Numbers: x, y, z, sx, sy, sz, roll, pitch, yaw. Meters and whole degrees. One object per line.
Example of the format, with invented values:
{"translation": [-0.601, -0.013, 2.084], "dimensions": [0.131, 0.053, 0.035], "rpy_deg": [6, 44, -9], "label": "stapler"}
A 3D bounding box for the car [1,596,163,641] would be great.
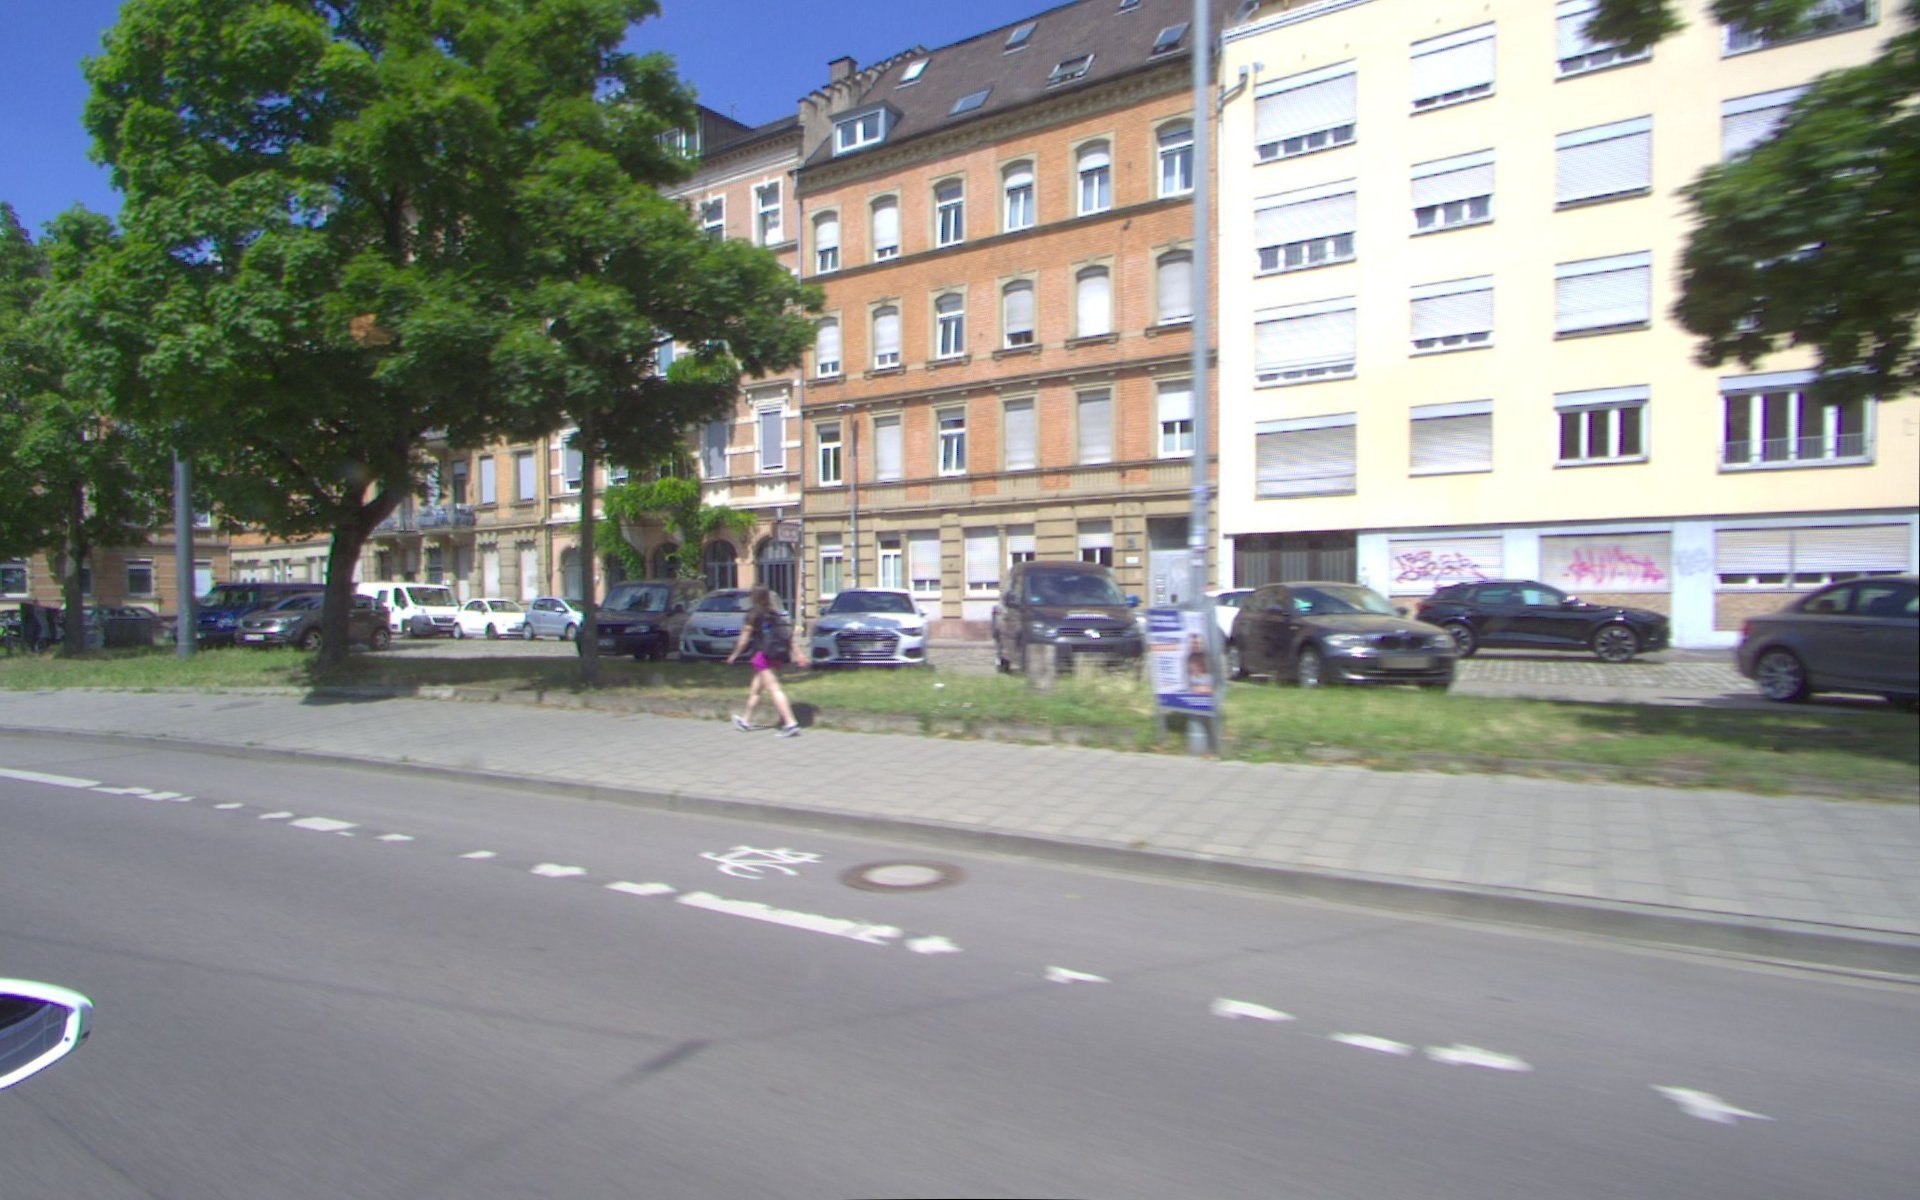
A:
{"translation": [-30.533, 0.609, 35.003], "dimensions": [1.770, 1.446, 4.258], "rpy_deg": [0, 1, 3], "label": "car"}

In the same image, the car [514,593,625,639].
{"translation": [-13.441, 0.542, 34.429], "dimensions": [3.798, 1.511, 1.655], "rpy_deg": [-1, 0, 33], "label": "car"}

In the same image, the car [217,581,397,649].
{"translation": [-17.484, 0.398, 27.073], "dimensions": [1.879, 1.678, 4.174], "rpy_deg": [0, -1, 5], "label": "car"}

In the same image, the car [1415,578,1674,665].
{"translation": [11.207, 0.410, 19.411], "dimensions": [4.167, 1.511, 1.828], "rpy_deg": [-1, -1, 33], "label": "car"}

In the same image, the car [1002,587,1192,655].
{"translation": [3.275, 0.493, 24.128], "dimensions": [4.167, 1.511, 1.828], "rpy_deg": [-1, -1, 33], "label": "car"}

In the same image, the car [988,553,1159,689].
{"translation": [1.549, 0.299, 15.270], "dimensions": [1.816, 1.764, 4.366], "rpy_deg": [0, -1, -4], "label": "car"}

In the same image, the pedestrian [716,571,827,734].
{"translation": [-1.972, 0.525, 10.480], "dimensions": [0.892, 1.613, 0.699], "rpy_deg": [0, 1, 31], "label": "pedestrian"}

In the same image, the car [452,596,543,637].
{"translation": [-16.923, 0.593, 36.646], "dimensions": [3.305, 1.422, 1.559], "rpy_deg": [0, 1, 35], "label": "car"}

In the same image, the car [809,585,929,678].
{"translation": [-1.459, 0.502, 17.502], "dimensions": [1.816, 1.398, 4.694], "rpy_deg": [0, -1, -2], "label": "car"}

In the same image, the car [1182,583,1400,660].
{"translation": [7.130, 0.458, 21.678], "dimensions": [4.167, 1.511, 1.828], "rpy_deg": [-1, -1, 33], "label": "car"}

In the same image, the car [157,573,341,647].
{"translation": [-20.045, 0.292, 28.533], "dimensions": [1.879, 1.952, 4.630], "rpy_deg": [0, -1, 1], "label": "car"}

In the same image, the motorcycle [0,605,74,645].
{"translation": [-28.487, 0.745, 30.766], "dimensions": [0.630, 1.182, 1.780], "rpy_deg": [0, 1, 30], "label": "motorcycle"}

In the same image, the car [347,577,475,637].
{"translation": [-21.495, 0.311, 39.156], "dimensions": [5.317, 2.207, 2.106], "rpy_deg": [-1, 0, 33], "label": "car"}

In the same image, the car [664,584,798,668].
{"translation": [-4.231, 0.469, 19.120], "dimensions": [1.816, 1.424, 4.085], "rpy_deg": [0, -1, -3], "label": "car"}

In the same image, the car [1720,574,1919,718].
{"translation": [10.239, 0.448, 10.044], "dimensions": [1.816, 1.398, 4.269], "rpy_deg": [0, -1, -4], "label": "car"}

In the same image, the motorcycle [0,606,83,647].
{"translation": [-27.877, 0.775, 30.379], "dimensions": [0.630, 1.182, 1.780], "rpy_deg": [0, 1, 30], "label": "motorcycle"}

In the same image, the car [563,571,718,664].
{"translation": [-6.543, 0.360, 20.987], "dimensions": [1.816, 1.764, 4.150], "rpy_deg": [0, -1, 1], "label": "car"}

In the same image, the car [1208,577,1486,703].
{"translation": [4.870, 0.470, 13.355], "dimensions": [1.816, 1.398, 4.269], "rpy_deg": [0, -1, -4], "label": "car"}

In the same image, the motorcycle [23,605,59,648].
{"translation": [-25.969, 0.729, 28.299], "dimensions": [1.886, 1.182, 0.634], "rpy_deg": [0, 1, 44], "label": "motorcycle"}
